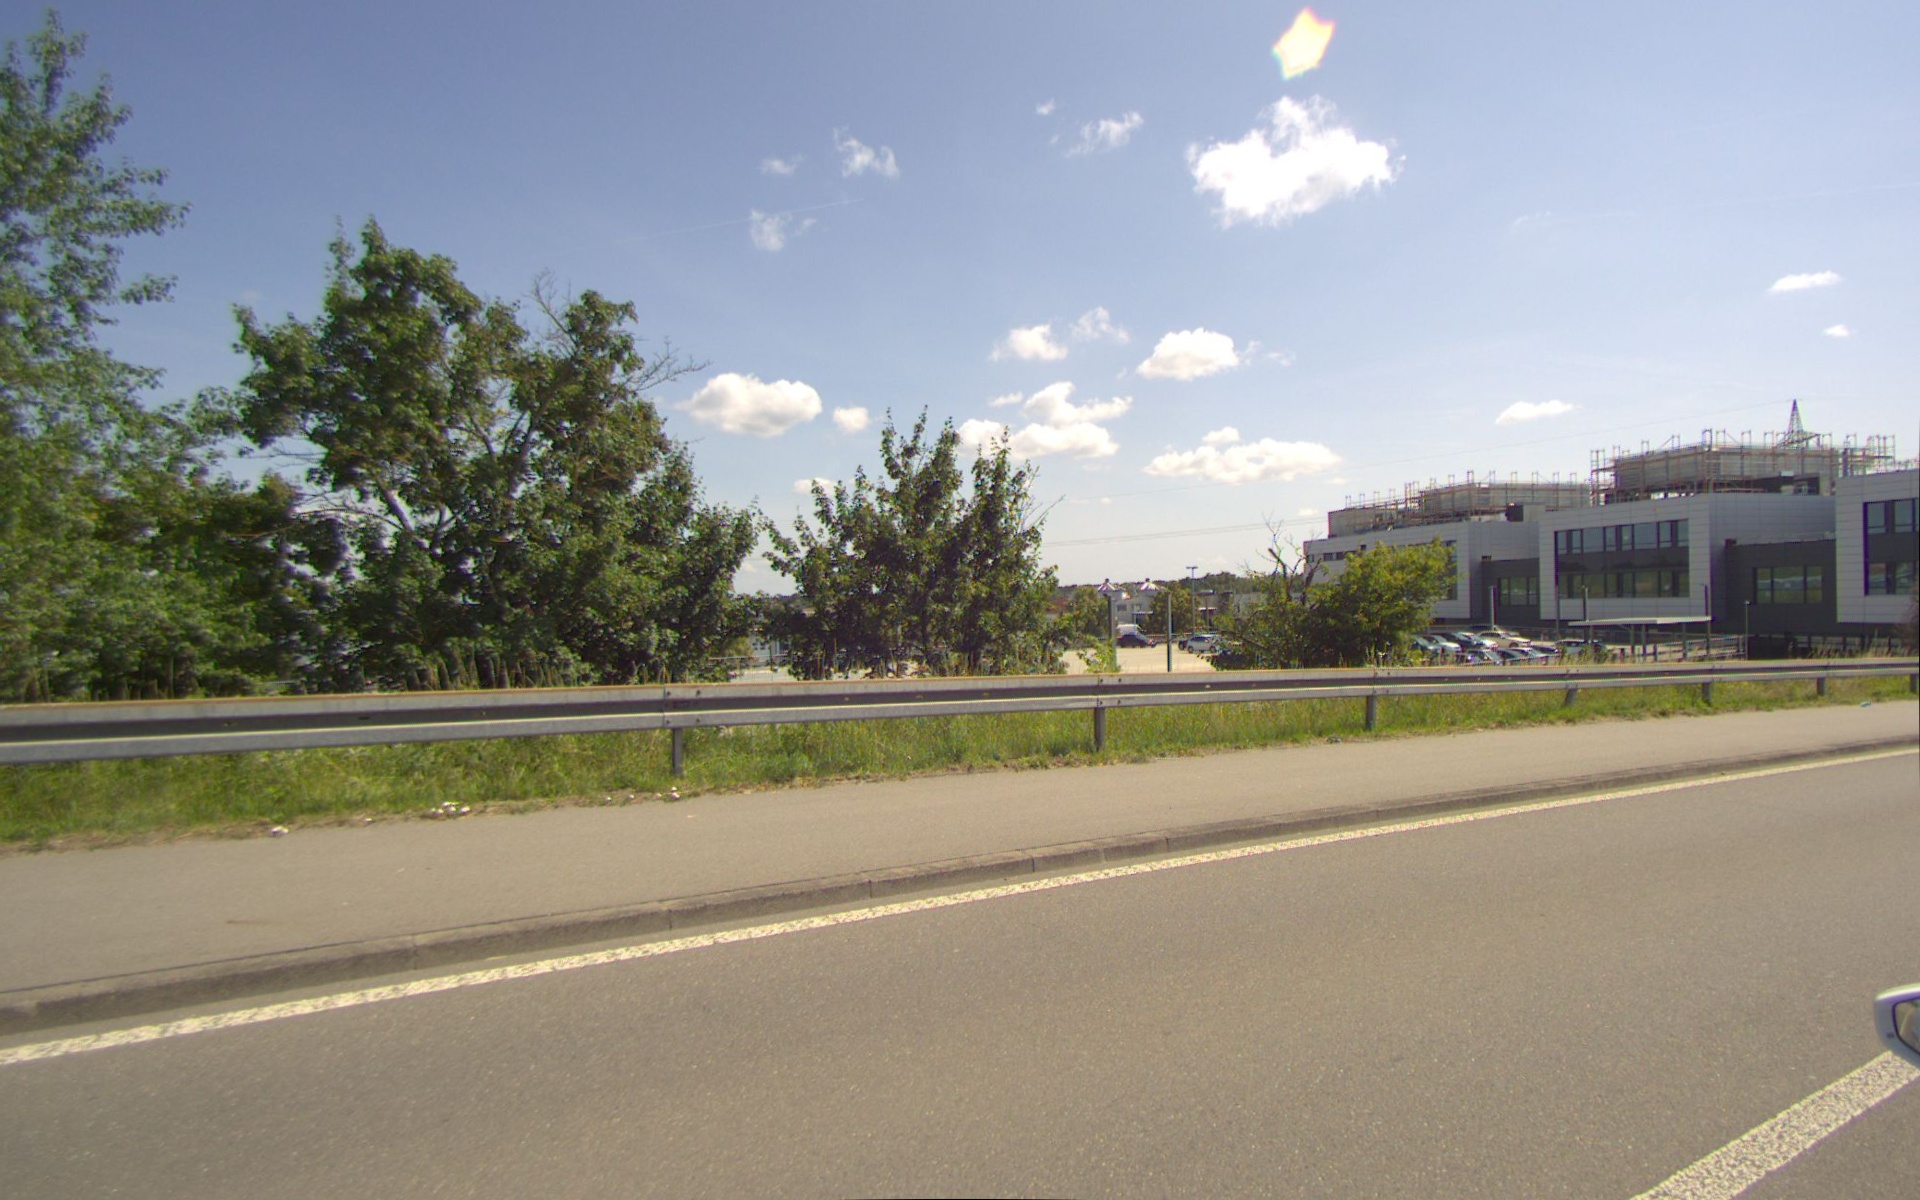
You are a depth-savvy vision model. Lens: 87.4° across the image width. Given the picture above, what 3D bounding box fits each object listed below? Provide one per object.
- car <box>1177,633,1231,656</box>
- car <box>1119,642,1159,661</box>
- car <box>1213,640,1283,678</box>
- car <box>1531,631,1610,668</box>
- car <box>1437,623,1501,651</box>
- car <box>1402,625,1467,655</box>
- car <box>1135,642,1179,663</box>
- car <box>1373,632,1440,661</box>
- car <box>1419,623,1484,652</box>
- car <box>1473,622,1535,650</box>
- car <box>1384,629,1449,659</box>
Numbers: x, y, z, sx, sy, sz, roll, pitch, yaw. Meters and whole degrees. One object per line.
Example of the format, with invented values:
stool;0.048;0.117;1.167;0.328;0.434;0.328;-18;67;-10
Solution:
car;20.473;3.788;84.355;1.983;1.861;3.956;2;-4;-39
car;18.026;5.158;101.150;1.845;1.866;3.965;1;-2;-32
car;17.827;3.637;62.357;1.976;2.041;3.969;-2;1;-29
car;39.620;3.179;65.282;1.941;2.041;3.960;-2;2;-35
car;39.530;2.851;78.108;1.981;2.041;3.958;-2;1;-37
car;35.591;3.007;75.473;1.981;2.041;3.958;-2;1;-37
car;18.226;4.808;93.143;1.845;1.866;3.965;1;-2;-32
car;32.007;3.333;72.085;1.985;1.839;3.951;-2;1;-42
car;37.526;2.856;76.767;1.981;2.041;3.958;-2;1;-37
car;43.808;2.849;80.921;1.981;2.041;3.958;-2;1;-37
car;33.586;3.212;73.972;1.981;1.929;3.958;-2;1;-37
